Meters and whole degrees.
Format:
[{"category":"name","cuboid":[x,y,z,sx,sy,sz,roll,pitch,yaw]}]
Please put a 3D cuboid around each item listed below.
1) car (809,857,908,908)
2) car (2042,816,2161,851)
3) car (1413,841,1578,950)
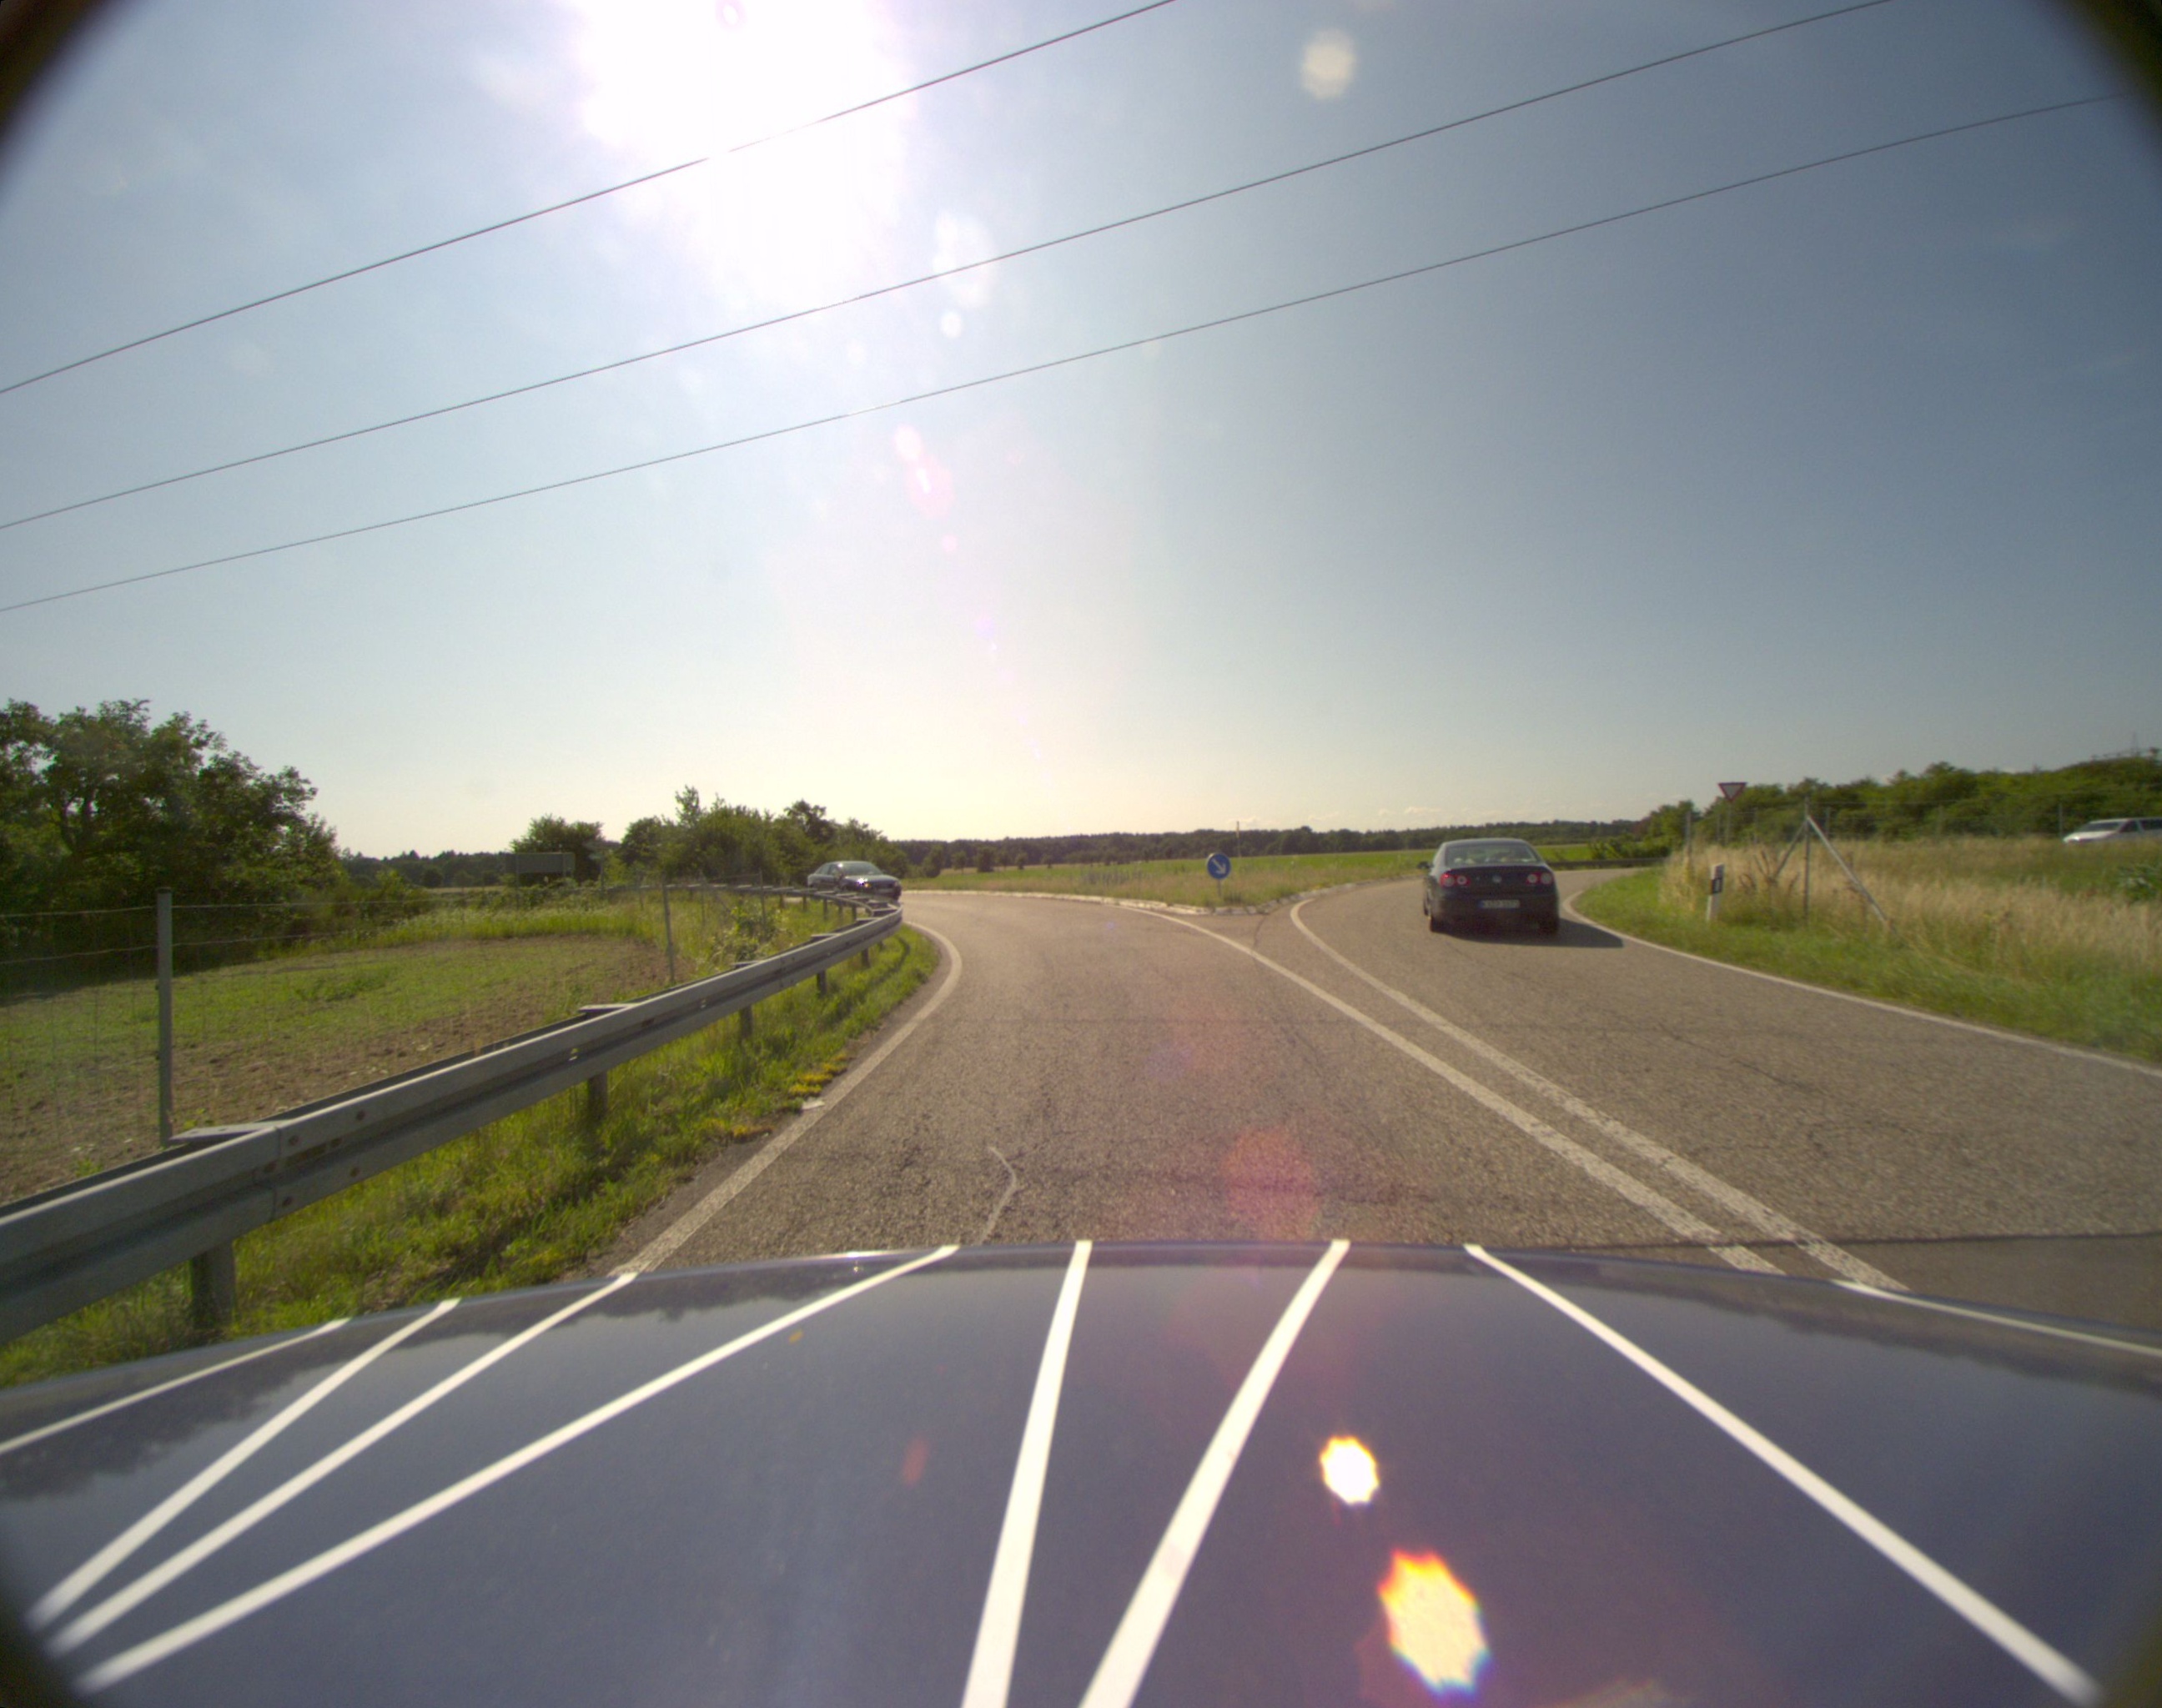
[{"category":"car","cuboid":[-7.473,0.929,25.315,1.891,1.448,4.065,-4,1,-35]},{"category":"car","cuboid":[56.404,-1.130,41.502,5.351,1.630,2.101,-3,1,-3]},{"category":"car","cuboid":[6.686,0.542,12.747,1.777,1.448,4.598,-1,1,20]}]
